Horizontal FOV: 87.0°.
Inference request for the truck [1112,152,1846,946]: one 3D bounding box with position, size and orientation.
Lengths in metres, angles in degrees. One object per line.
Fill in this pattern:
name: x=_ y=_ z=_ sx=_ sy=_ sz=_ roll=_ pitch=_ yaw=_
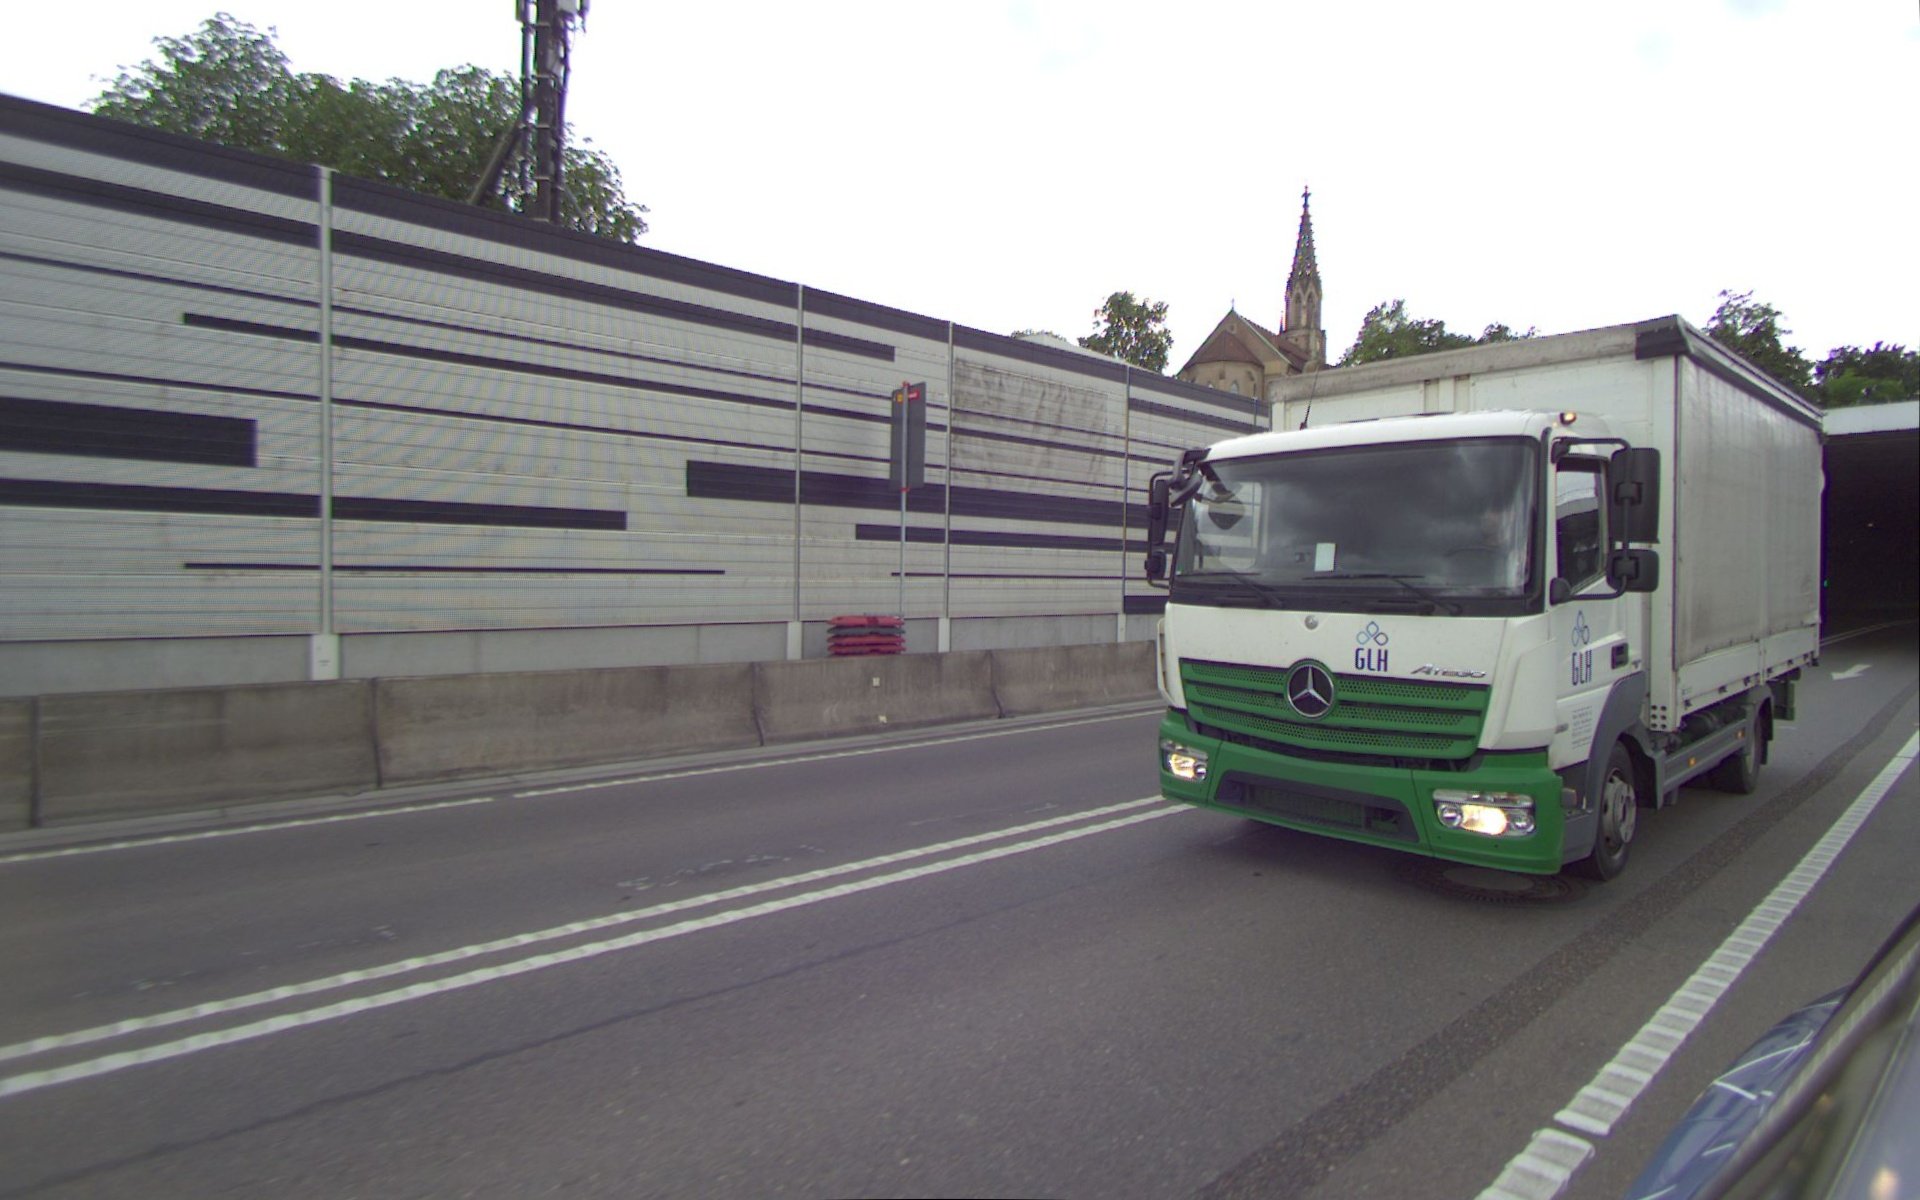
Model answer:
truck: x=4.467 y=-0.259 z=7.645 sx=7.291 sy=3.280 sz=2.633 roll=-1 pitch=1 yaw=-43
